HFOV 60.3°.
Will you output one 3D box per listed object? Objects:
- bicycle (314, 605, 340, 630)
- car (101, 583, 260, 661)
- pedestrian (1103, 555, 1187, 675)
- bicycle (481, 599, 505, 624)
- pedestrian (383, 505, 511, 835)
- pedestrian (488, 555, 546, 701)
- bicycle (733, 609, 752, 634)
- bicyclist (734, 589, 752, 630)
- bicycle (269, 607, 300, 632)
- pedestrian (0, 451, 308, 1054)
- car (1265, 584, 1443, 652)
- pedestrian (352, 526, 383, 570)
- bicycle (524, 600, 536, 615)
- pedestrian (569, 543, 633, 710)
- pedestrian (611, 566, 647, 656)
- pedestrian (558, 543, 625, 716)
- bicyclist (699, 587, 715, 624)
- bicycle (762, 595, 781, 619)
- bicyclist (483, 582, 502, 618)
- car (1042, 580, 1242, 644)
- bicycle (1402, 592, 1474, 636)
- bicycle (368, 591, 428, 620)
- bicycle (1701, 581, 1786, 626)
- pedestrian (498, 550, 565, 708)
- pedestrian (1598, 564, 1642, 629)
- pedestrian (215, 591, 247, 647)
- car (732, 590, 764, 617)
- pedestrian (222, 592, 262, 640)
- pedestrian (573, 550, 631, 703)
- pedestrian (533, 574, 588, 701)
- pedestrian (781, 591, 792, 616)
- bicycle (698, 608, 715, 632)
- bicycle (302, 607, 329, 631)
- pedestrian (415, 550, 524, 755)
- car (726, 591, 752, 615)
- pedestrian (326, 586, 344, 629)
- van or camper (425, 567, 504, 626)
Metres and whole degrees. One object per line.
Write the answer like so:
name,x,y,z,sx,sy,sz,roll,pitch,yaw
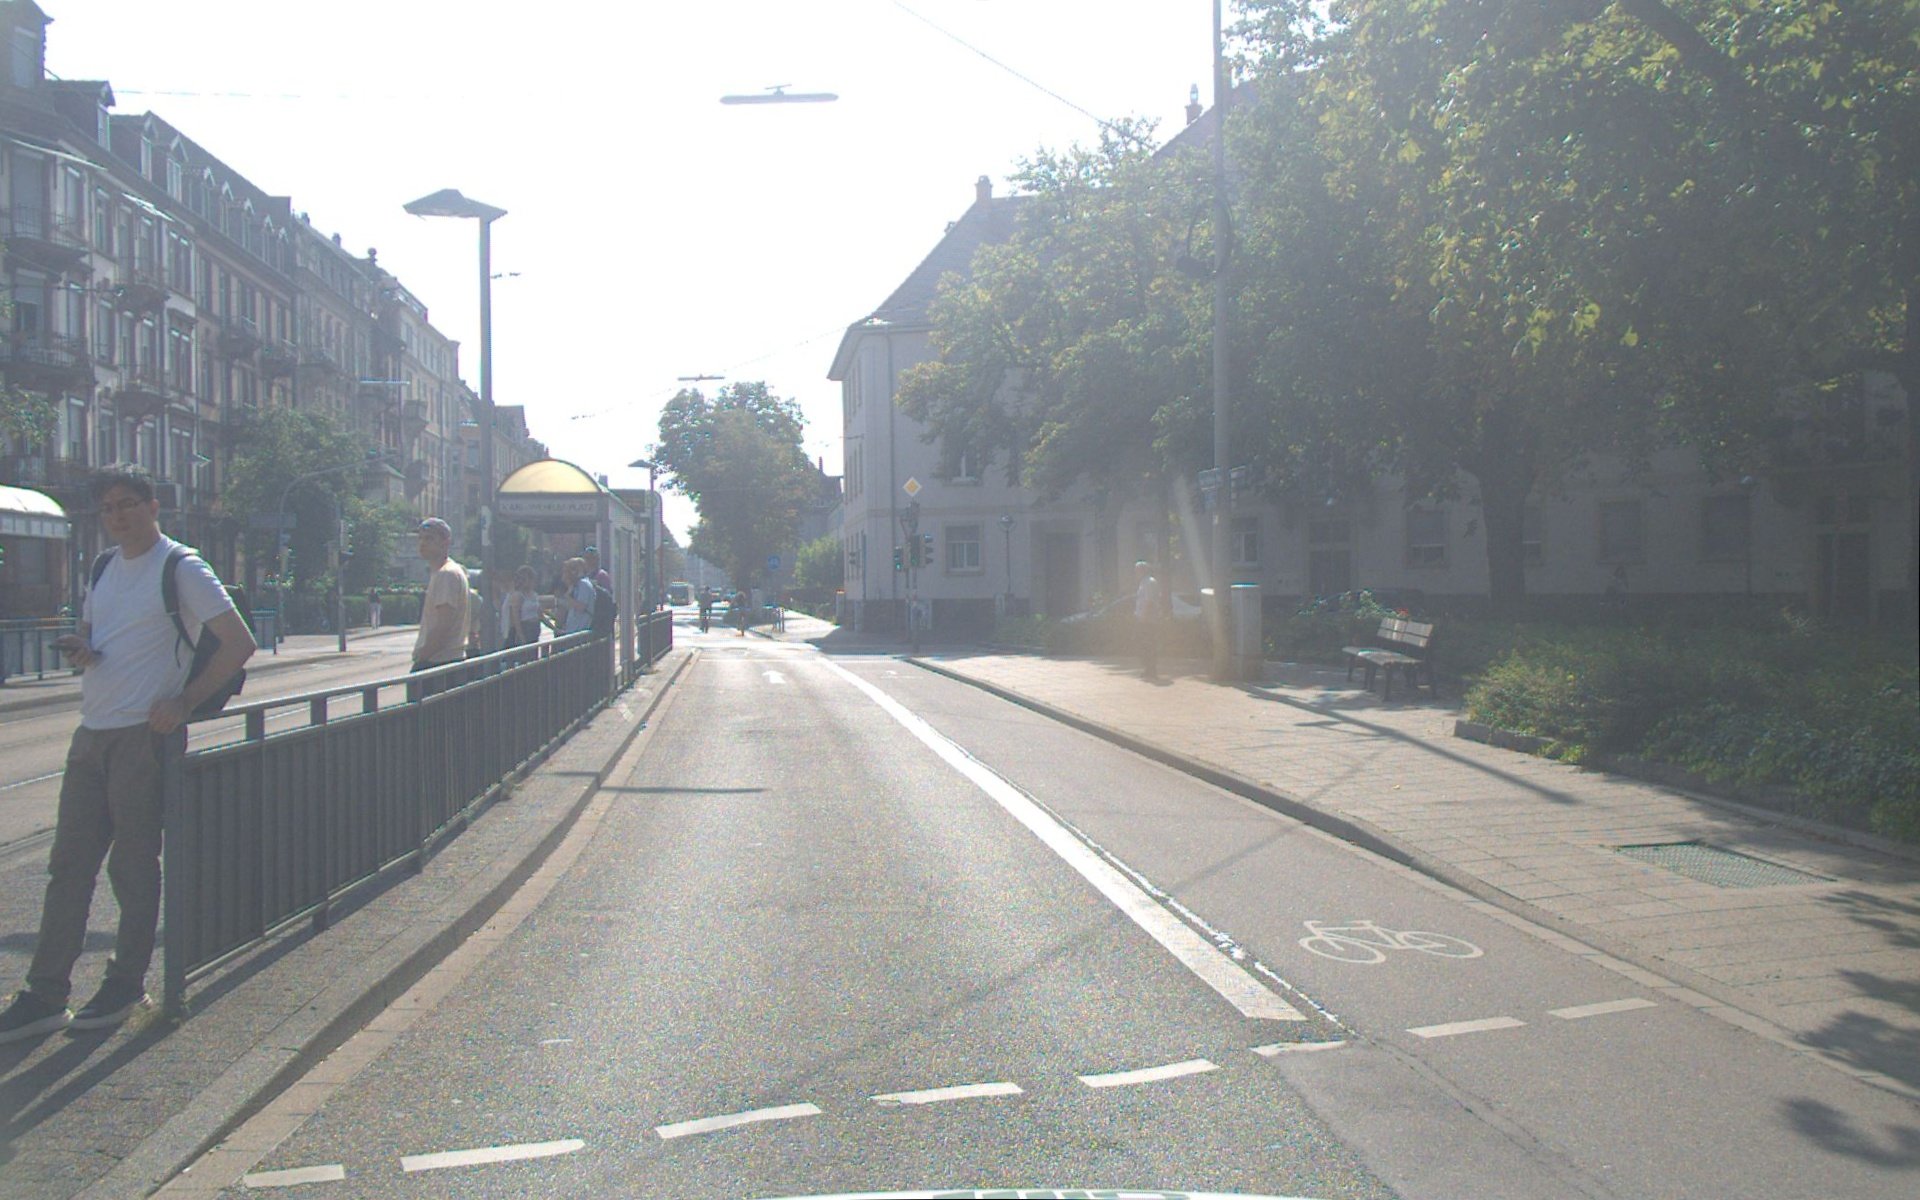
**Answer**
bicycle,-25.031,0.691,65.442,0.516,0.943,1.701,0,0,-5
car,-17.945,0.460,38.322,1.955,1.680,4.476,-1,0,-6
pedestrian,2.873,0.222,25.632,0.946,1.754,1.080,-3,1,21
bicycle,-21.674,0.544,76.787,0.671,1.122,2.067,-1,0,-6
pedestrian,-2.958,0.386,9.578,0.547,1.834,0.675,-1,0,-5
pedestrian,-5.408,0.333,20.220,0.577,1.751,0.606,-1,0,-6
bicycle,-8.237,0.821,62.554,0.642,0.925,1.771,1,0,-9
bicyclist,-8.219,0.360,62.544,0.642,1.500,0.907,1,-1,-9
bicycle,-24.846,0.701,60.824,0.516,0.875,1.826,0,0,-5
pedestrian,-2.585,0.449,5.309,0.714,1.800,0.738,1,2,-5
car,9.372,0.402,39.517,1.737,1.476,3.829,-3,2,-42
pedestrian,-24.551,-2.142,68.530,0.887,1.797,1.184,-1,0,-5
bicycle,-31.138,0.540,119.698,0.534,1.076,1.837,3,0,-6
pedestrian,-4.129,0.294,19.067,0.624,1.880,0.633,-1,0,-6
pedestrian,-6.725,0.213,33.634,0.677,1.797,0.795,-1,0,-9
pedestrian,-4.089,0.317,18.385,0.624,1.880,0.633,-1,0,-6
bicyclist,-10.008,0.223,65.386,0.615,1.425,0.927,1,-1,-9
bicycle,-9.209,0.342,80.878,0.758,1.123,2.328,-1,0,-10
bicyclist,-21.714,0.013,76.841,0.660,1.642,1.043,-1,0,-6
car,4.730,0.319,43.307,4.850,1.494,1.872,-1,3,33
bicycle,12.597,0.364,43.615,0.603,1.076,1.813,-1,2,-40
bicycle,-29.114,0.285,85.743,2.827,1.480,0.994,0,0,-15
bicycle,18.666,0.082,39.459,0.526,1.024,1.891,-1,0,-28
pedestrian,-4.897,0.323,18.923,0.624,1.778,0.633,-1,0,-6
pedestrian,17.498,-0.094,43.849,0.680,1.700,0.855,-1,0,-35
pedestrian,-24.527,0.627,55.681,0.714,1.838,1.091,-1,0,-9
car,-13.341,0.211,104.218,1.612,1.567,3.840,-3,0,-2
pedestrian,-24.626,0.544,56.715,0.823,1.598,0.945,-1,0,25
pedestrian,-4.268,0.310,19.741,0.577,1.795,0.606,-1,0,-6
pedestrian,-5.059,0.467,20.959,0.577,1.571,0.606,-1,0,-6
pedestrian,-12.749,0.247,121.544,0.737,1.779,0.878,-1,0,-2
bicycle,-10.019,0.773,65.371,0.615,0.925,1.522,1,0,-9
bicycle,-24.831,0.722,63.762,0.516,0.875,1.701,0,0,-5
pedestrian,-4.197,0.426,14.128,0.801,1.683,0.861,-1,0,-22
car,-14.982,0.204,112.191,1.614,1.473,4.238,-3,0,-8
pedestrian,-24.947,0.293,66.010,0.627,1.707,0.630,-1,0,-20
van or camper,-23.777,-0.148,79.593,2.009,2.691,6.088,-1,0,-1
